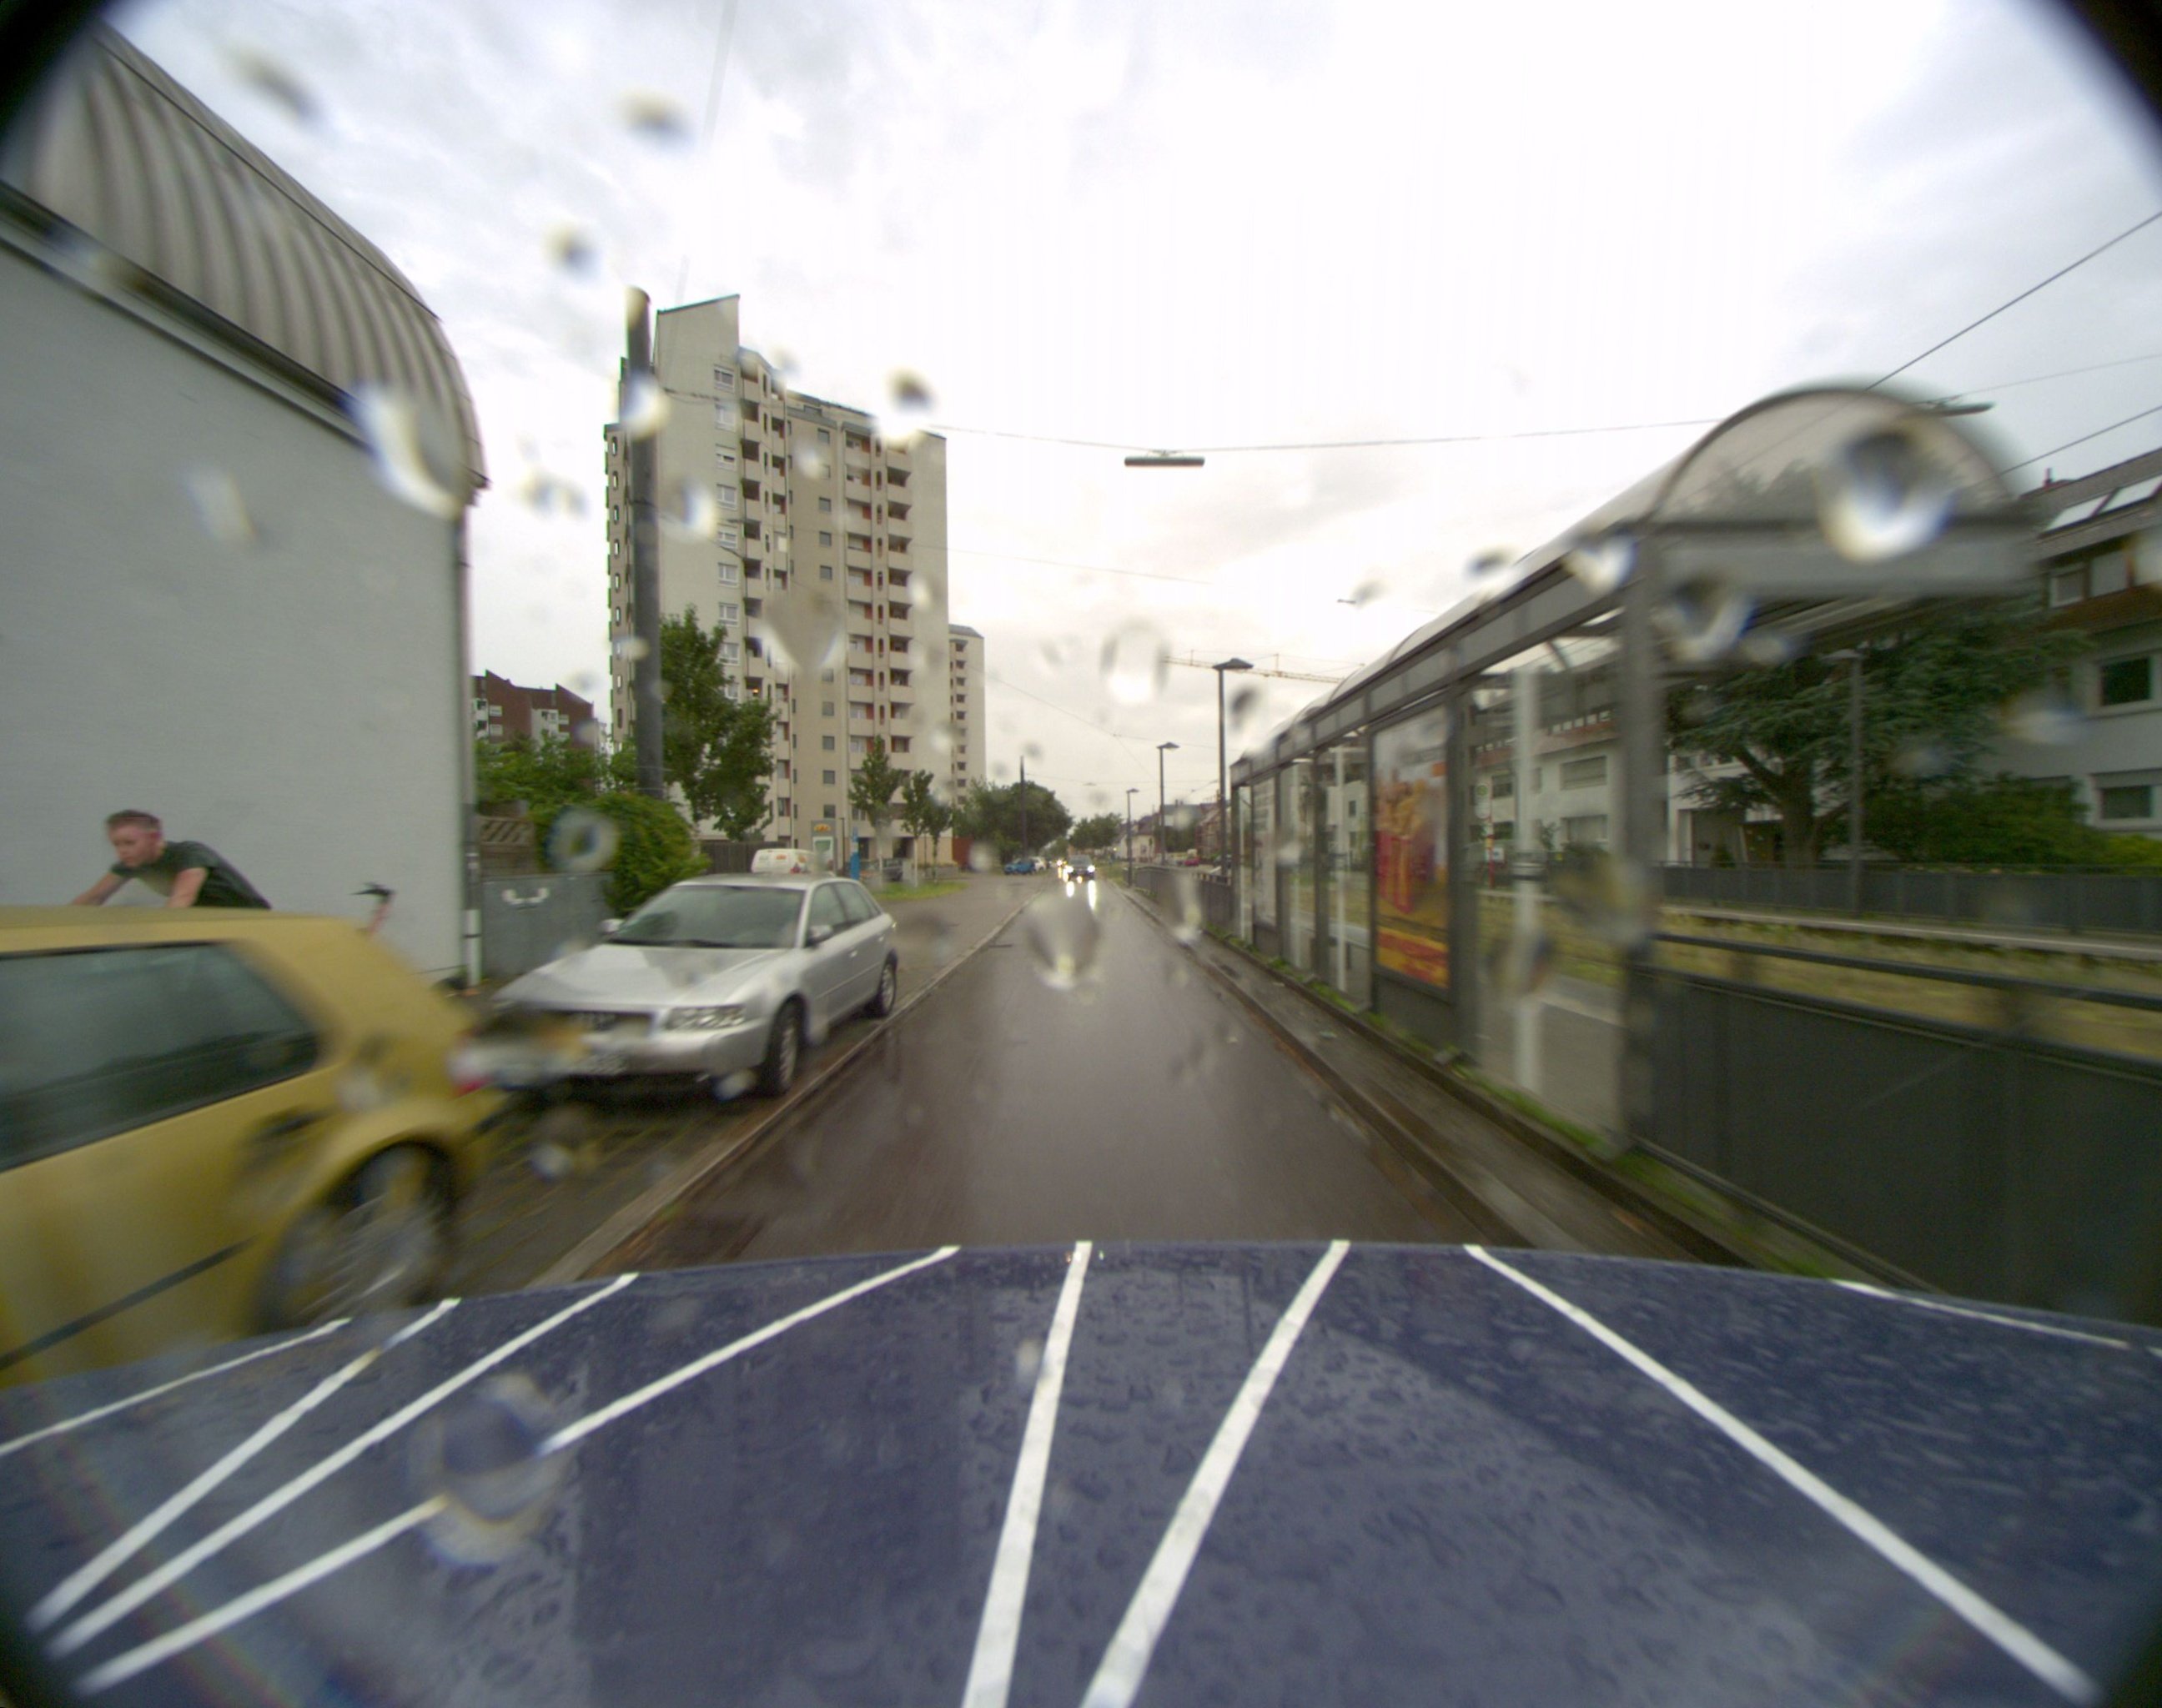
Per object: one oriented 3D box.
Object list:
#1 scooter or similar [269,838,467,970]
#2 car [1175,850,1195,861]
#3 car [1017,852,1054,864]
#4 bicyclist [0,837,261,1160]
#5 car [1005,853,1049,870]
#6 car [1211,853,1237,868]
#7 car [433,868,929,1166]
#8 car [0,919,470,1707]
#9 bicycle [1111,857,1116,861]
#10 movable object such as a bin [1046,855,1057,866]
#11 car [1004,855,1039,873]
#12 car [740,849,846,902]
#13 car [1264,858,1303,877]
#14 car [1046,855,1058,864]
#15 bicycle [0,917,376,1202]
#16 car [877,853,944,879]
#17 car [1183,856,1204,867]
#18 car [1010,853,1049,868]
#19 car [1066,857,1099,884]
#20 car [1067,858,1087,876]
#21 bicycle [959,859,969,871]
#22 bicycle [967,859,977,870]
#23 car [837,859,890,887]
[{"bbox_3d":[-6.424,0.404,6.944,0.334,1.079,1.396,-2,1,6],"label":"scooter or similar"},{"bbox_3d":[14.829,0.217,108.513,1.999,1.401,4.174,-2,-1,-3],"label":"car"},{"bbox_3d":[-5.759,0.524,97.190,4.470,1.419,1.680,2,-1,-35],"label":"car"},{"bbox_3d":[-5.101,0.696,4.066,0.535,1.551,0.772,-2,1,-7],"label":"bicyclist"},{"bbox_3d":[-5.385,0.787,75.905,4.195,1.538,1.760,2,-1,-41],"label":"car"},{"bbox_3d":[15.440,0.709,82.088,1.842,1.418,4.174,-2,0,-3],"label":"car"},{"bbox_3d":[-2.656,0.932,6.461,1.654,1.397,4.649,2,1,1],"label":"car"},{"bbox_3d":[-3.042,0.979,0.711,1.811,1.397,3.793,2,1,1],"label":"car"},{"bbox_3d":[8.741,1.331,205.850,0.937,1.037,3.433,-1,0,-3],"label":"bicycle"},{"bbox_3d":[-4.460,0.958,113.319,1.165,1.553,1.372,-2,1,-25],"label":"movable object such as a bin"},{"bbox_3d":[-5.189,0.829,66.626,2.570,1.539,1.598,-1,1,-41],"label":"car"},{"bbox_3d":[-10.768,0.767,28.895,1.968,1.773,4.898,-2,0,2],"label":"car"},{"bbox_3d":[16.170,1.056,60.781,1.999,1.405,3.656,-2,1,-3],"label":"car"},{"bbox_3d":[-5.625,1.055,147.400,1.999,1.696,3.999,-2,1,0],"label":"car"},{"bbox_3d":[-5.121,1.004,4.315,0.538,1.087,1.947,-2,1,-6],"label":"bicycle"},{"bbox_3d":[-11.778,0.835,52.508,4.119,1.607,1.811,-2,0,-31],"label":"car"},{"bbox_3d":[15.214,1.043,102.950,1.999,1.365,3.842,-2,1,-3],"label":"car"},{"bbox_3d":[-6.135,0.776,90.620,4.471,1.661,1.808,2,-1,-39],"label":"car"},{"bbox_3d":[0.042,1.064,50.928,1.999,1.611,3.998,-2,1,-2],"label":"car"},{"bbox_3d":[-0.416,1.341,81.448,1.999,1.762,3.999,-2,1,0],"label":"car"},{"bbox_3d":[-10.992,1.030,71.493,0.663,1.000,2.058,-2,1,-1],"label":"bicycle"},{"bbox_3d":[-10.278,0.970,71.508,0.663,1.000,2.058,-2,1,-1],"label":"bicycle"},{"bbox_3d":[-12.150,1.018,42.285,2.003,1.433,3.991,-2,1,-28],"label":"car"}]
